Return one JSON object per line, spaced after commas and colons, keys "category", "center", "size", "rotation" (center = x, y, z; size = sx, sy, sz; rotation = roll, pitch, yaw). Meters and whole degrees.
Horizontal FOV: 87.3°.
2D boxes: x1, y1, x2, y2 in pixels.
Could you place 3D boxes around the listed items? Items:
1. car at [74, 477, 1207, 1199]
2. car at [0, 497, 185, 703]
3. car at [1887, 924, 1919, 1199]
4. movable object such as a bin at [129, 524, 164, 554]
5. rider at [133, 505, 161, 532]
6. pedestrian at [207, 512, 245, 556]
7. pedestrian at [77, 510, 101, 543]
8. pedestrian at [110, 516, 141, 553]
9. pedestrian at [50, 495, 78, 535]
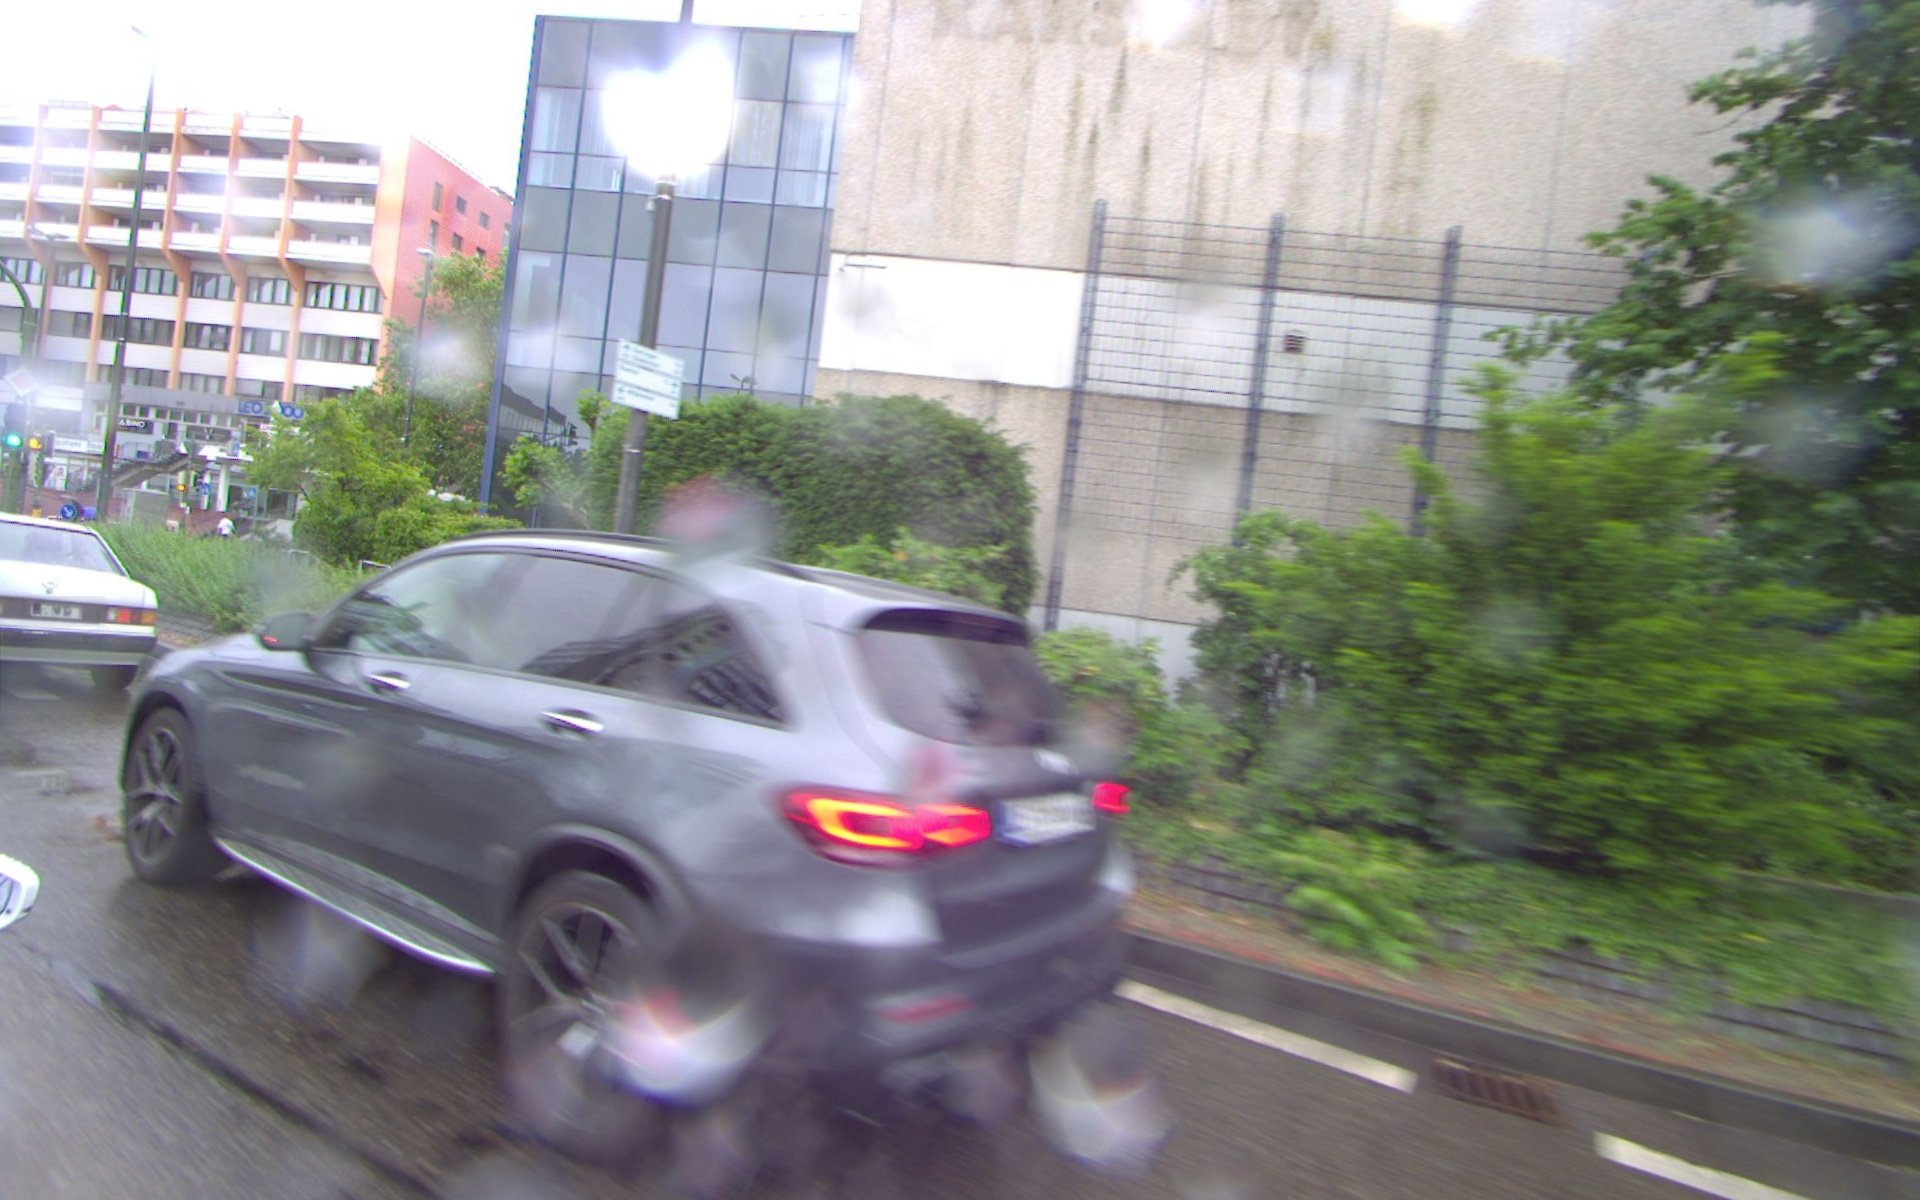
{"category": "car", "center": [-1.470, 0.575, 4.046], "size": [4.264, 1.640, 1.904], "rotation": [7, -1, 32]}
{"category": "car", "center": [-8.556, -0.146, 8.695], "size": [4.202, 1.465, 1.636], "rotation": [5, -3, 35]}
{"category": "car", "center": [4.050, 1.359, 0.874], "size": [4.437, 1.402, 1.635], "rotation": [7, -1, 29]}
{"category": "movable object such as a bin", "center": [-43.561, -3.259, 53.869], "size": [1.434, 1.348, 1.129], "rotation": [8, -1, 41]}
{"category": "rider", "center": [-43.447, -4.361, 53.759], "size": [1.075, 1.302, 0.920], "rotation": [8, 4, 41]}
{"category": "pedestrian", "center": [-31.732, -2.845, 43.495], "size": [1.109, 1.712, 0.829], "rotation": [6, 0, 30]}
{"category": "pedestrian", "center": [-39.036, -3.291, 45.084], "size": [0.647, 1.362, 0.705], "rotation": [6, 0, 45]}
{"category": "pedestrian", "center": [-41.264, -3.237, 49.734], "size": [0.915, 1.689, 0.795], "rotation": [6, 0, 30]}
{"category": "pedestrian", "center": [-39.322, -3.719, 44.158], "size": [0.706, 1.625, 0.647], "rotation": [9, -2, -44]}
